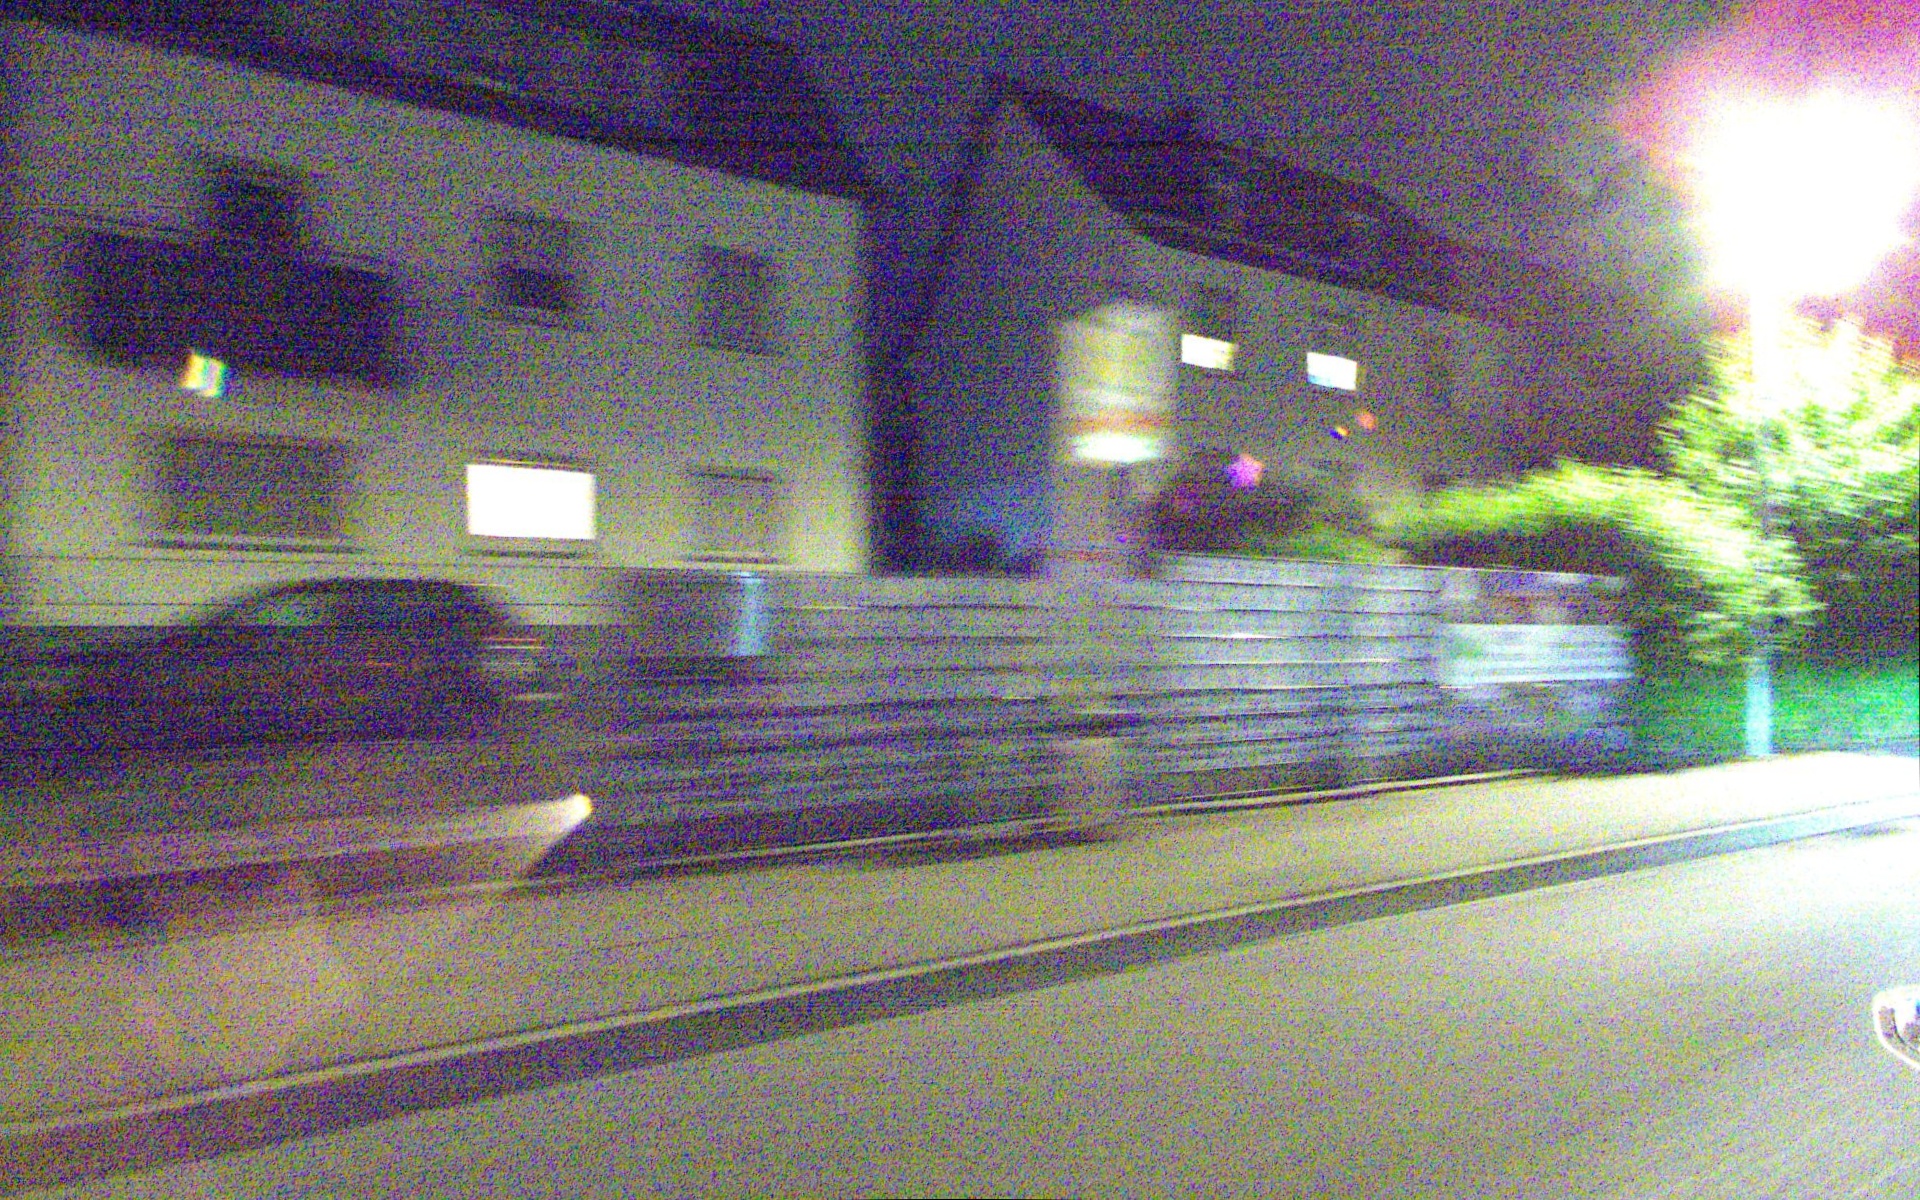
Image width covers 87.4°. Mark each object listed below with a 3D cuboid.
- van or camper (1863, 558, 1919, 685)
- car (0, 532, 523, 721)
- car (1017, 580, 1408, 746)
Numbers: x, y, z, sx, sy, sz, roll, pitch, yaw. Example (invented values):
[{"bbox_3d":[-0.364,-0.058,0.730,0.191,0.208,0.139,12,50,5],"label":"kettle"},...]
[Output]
[{"bbox_3d":[25.575,0.548,24.251,2.113,3.152,5.358,1,-1,-38],"label":"van or camper"},{"bbox_3d":[-6.351,0.228,9.407,4.067,1.479,1.721,1,0,-26],"label":"car"},{"bbox_3d":[2.795,0.584,10.888,3.959,1.459,1.962,1,1,-34],"label":"car"}]
